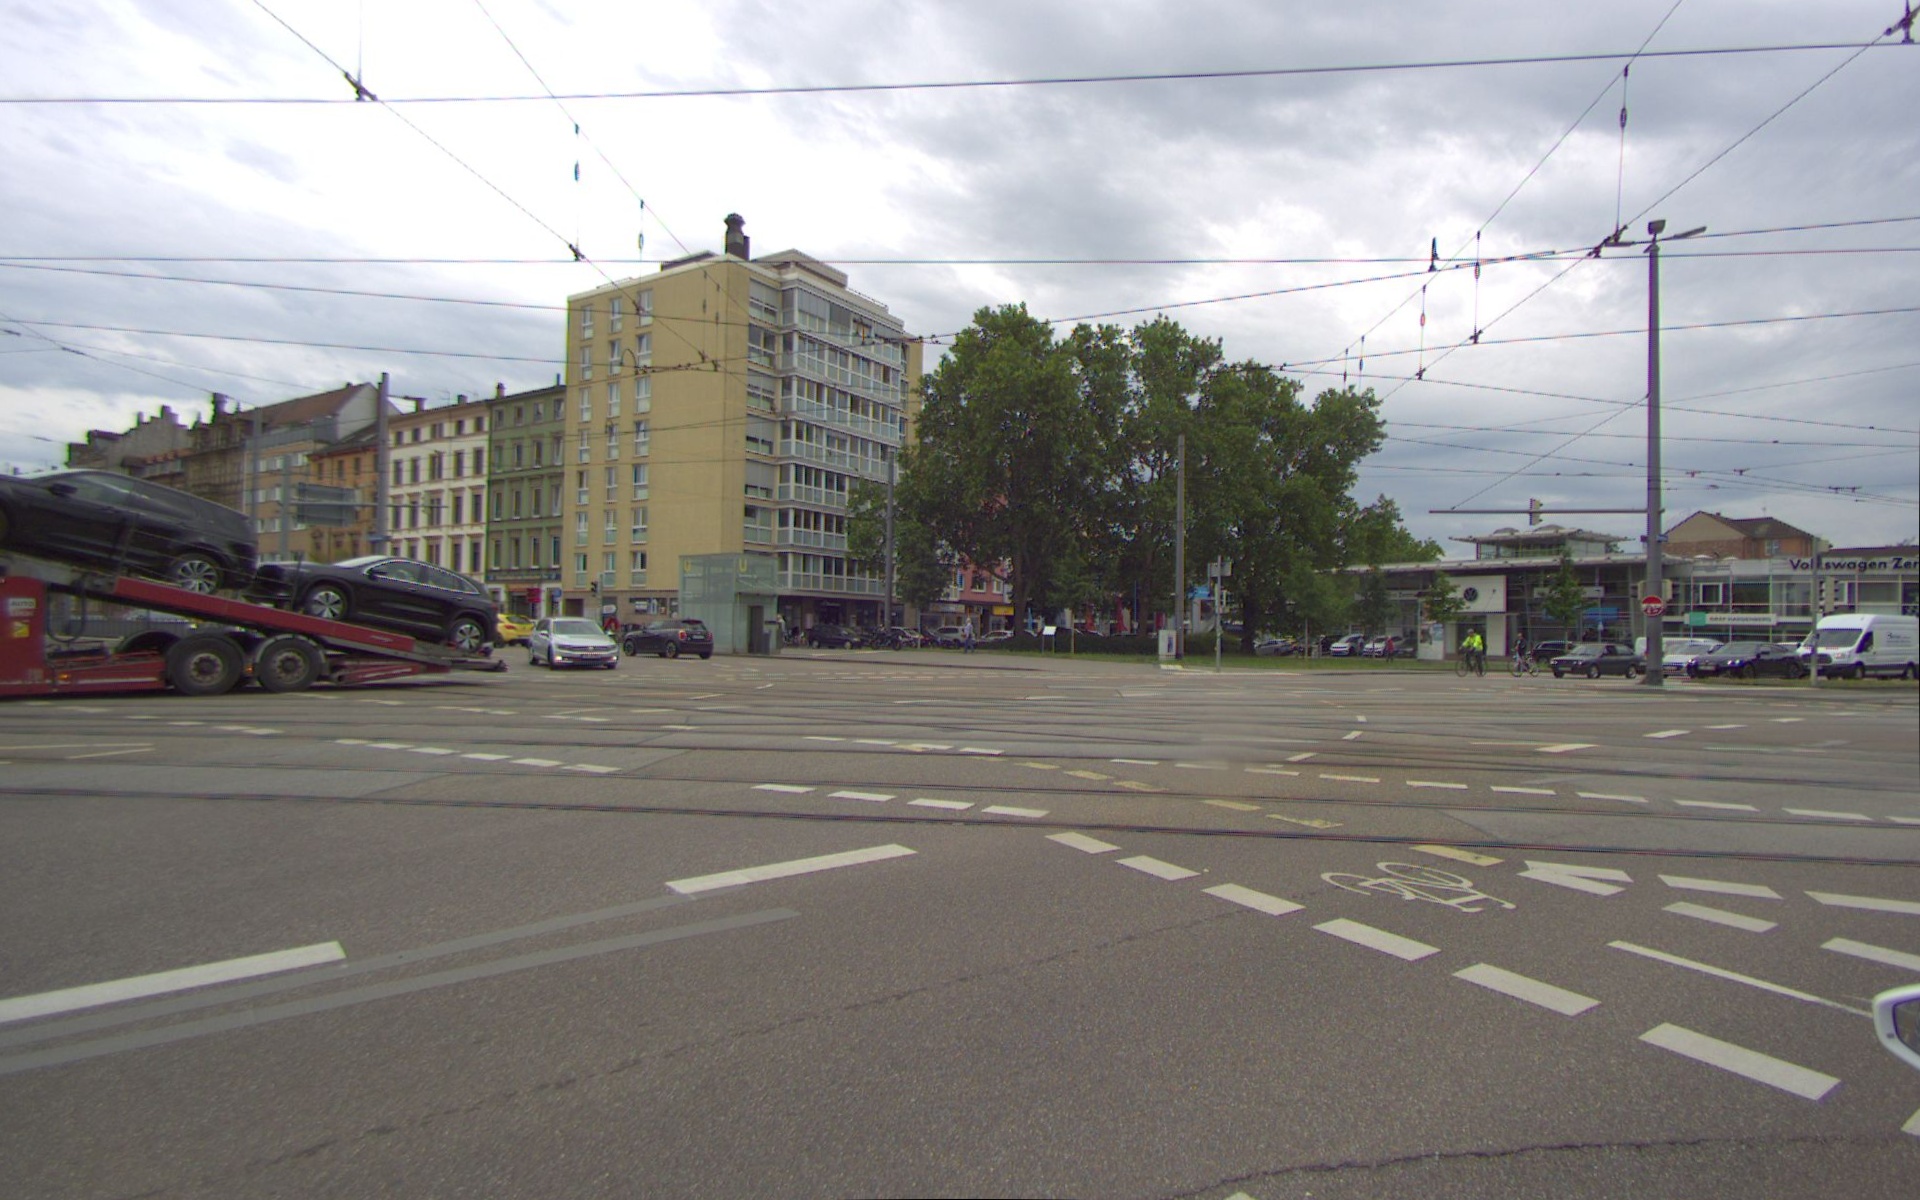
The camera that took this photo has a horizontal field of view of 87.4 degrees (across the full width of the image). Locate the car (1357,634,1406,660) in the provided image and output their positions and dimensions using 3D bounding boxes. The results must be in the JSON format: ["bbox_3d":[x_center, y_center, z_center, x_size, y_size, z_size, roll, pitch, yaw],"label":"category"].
[{"bbox_3d":[35.418,3.939,84.371,3.963,2.040,1.979,3,-1,-37],"label":"car"}]

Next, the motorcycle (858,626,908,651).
[{"bbox_3d":[-3.898,1.948,51.008,2.504,1.194,0.862,1,-1,34],"label":"motorcycle"}]

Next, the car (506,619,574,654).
[{"bbox_3d":[-23.091,1.972,55.391,2.040,1.778,4.000,2,-1,-1],"label":"car"}]

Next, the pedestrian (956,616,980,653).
[{"bbox_3d":[0.385,1.643,48.026,0.897,1.742,0.707,2,-1,21],"label":"pedestrian"}]

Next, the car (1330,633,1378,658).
[{"bbox_3d":[33.873,3.918,86.341,3.963,2.040,1.979,3,-1,-37],"label":"car"}]

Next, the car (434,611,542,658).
[{"bbox_3d":[-16.654,1.202,35.412,3.563,1.513,1.993,1,-2,36],"label":"car"}]

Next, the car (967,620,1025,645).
[{"bbox_3d":[2.783,2.520,77.875,3.927,1.728,1.997,2,-1,29],"label":"car"}]

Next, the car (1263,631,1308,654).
[{"bbox_3d":[29.658,3.876,91.478,3.963,2.040,1.979,3,-1,-37],"label":"car"}]

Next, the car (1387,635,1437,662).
[{"bbox_3d":[36.895,3.953,81.947,3.963,2.040,1.979,3,-1,-37],"label":"car"}]

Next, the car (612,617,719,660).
[{"bbox_3d":[-10.912,1.399,37.128,3.935,1.488,1.769,0,-2,36],"label":"car"}]

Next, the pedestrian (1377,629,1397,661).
[{"bbox_3d":[26.395,2.797,62.108,0.847,1.925,0.708,2,-1,-11],"label":"pedestrian"}]

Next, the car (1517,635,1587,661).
[{"bbox_3d":[34.430,2.773,58.460,3.683,1.439,1.632,2,-1,-22],"label":"car"}]

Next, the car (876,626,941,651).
[{"bbox_3d":[-3.466,2.571,67.543,3.928,1.572,1.997,0,-2,30],"label":"car"}]

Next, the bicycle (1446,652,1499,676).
[{"bbox_3d":[20.218,2.514,39.625,2.189,0.942,0.517,1,-1,-21],"label":"bicycle"}]

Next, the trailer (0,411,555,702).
[{"bbox_3d":[-12.382,-0.505,17.757,2.947,4.025,9.524,2,-1,35],"label":"trailer"}]

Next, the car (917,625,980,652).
[{"bbox_3d":[-0.815,2.698,71.133,3.927,1.728,1.997,2,-1,29],"label":"car"}]

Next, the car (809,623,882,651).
[{"bbox_3d":[-6.921,2.210,60.712,3.928,1.572,1.997,0,-2,30],"label":"car"}]

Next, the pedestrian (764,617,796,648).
[{"bbox_3d":[-9.802,1.782,54.753,1.308,1.661,1.039,0,-2,29],"label":"pedestrian"}]

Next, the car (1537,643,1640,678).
[{"bbox_3d":[24.346,2.332,38.887,3.687,1.263,1.681,2,-2,-25],"label":"car"}]

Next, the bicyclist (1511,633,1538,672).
[{"bbox_3d":[22.890,2.120,40.725,0.844,1.528,0.565,0,-1,-21],"label":"bicyclist"}]

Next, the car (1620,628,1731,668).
[{"bbox_3d":[40.721,2.708,57.280,2.092,2.040,4.753,2,-1,-24],"label":"car"}]

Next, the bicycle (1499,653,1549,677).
[{"bbox_3d":[22.856,2.630,40.701,2.189,0.938,0.517,1,-1,-21],"label":"bicycle"}]

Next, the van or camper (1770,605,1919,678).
[{"bbox_3d":[35.356,1.659,39.996,5.969,2.645,2.408,2,-1,-25],"label":"van or camper"}]

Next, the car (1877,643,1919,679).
[{"bbox_3d":[41.714,2.605,42.685,4.725,1.439,1.992,2,-1,-18],"label":"car"}]

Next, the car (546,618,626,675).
[{"bbox_3d":[-10.946,1.321,29.222,1.972,1.513,4.653,2,-2,-23],"label":"car"}]

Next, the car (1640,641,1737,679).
[{"bbox_3d":[29.417,2.428,40.554,3.687,1.439,1.630,2,-2,-25],"label":"car"}]

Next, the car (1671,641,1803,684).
[{"bbox_3d":[28.667,2.289,37.041,4.599,1.439,1.988,2,-2,-25],"label":"car"}]

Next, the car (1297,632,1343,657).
[{"bbox_3d":[31.762,3.901,88.579,3.963,2.040,1.979,3,-1,-37],"label":"car"}]

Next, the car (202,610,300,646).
[{"bbox_3d":[-30.650,1.184,43.417,3.929,1.461,1.996,0,-2,31],"label":"car"}]

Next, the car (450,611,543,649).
[{"bbox_3d":[-20.486,1.319,44.372,3.930,1.514,1.820,2,-1,31],"label":"car"}]

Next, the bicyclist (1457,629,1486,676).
[{"bbox_3d":[20.149,2.072,39.570,0.785,1.827,0.627,2,-1,-20],"label":"bicyclist"}]
